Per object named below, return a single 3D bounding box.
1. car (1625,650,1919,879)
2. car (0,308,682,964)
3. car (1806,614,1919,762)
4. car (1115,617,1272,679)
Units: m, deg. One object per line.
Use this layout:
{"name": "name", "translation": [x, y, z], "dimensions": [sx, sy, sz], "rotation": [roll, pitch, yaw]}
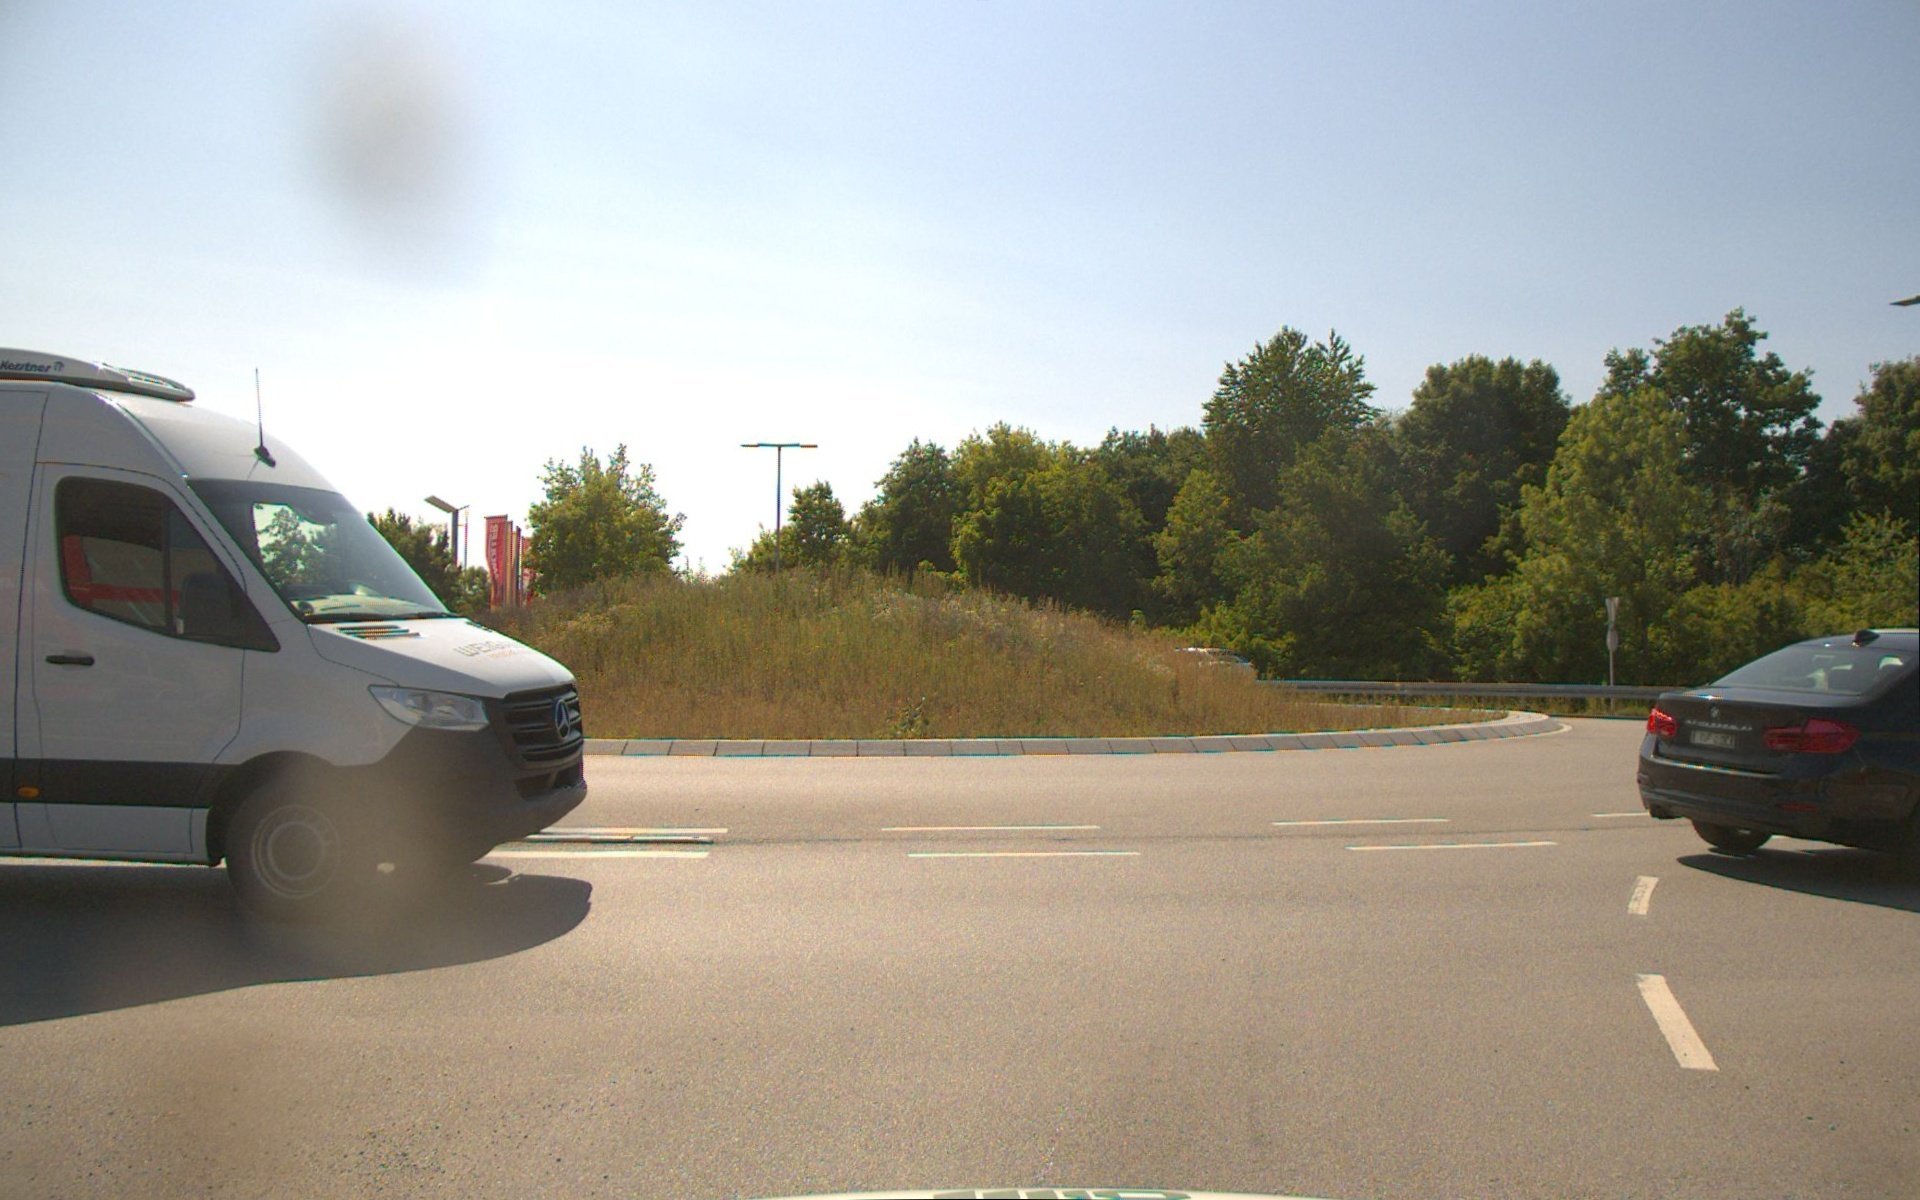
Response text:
{"name": "car", "translation": [6.293, 0.966, 10.484], "dimensions": [3.799, 1.203, 1.665], "rotation": [2, -1, -23]}
{"name": "car", "translation": [-4.739, 0.112, 8.877], "dimensions": [5.988, 2.972, 2.086], "rotation": [1, -1, 7]}
{"name": "car", "translation": [11.664, 1.000, 20.046], "dimensions": [1.802, 1.624, 4.327], "rotation": [0, -1, 18]}
{"name": "car", "translation": [6.208, 1.324, 44.354], "dimensions": [1.771, 1.557, 4.234], "rotation": [2, -3, -35]}
